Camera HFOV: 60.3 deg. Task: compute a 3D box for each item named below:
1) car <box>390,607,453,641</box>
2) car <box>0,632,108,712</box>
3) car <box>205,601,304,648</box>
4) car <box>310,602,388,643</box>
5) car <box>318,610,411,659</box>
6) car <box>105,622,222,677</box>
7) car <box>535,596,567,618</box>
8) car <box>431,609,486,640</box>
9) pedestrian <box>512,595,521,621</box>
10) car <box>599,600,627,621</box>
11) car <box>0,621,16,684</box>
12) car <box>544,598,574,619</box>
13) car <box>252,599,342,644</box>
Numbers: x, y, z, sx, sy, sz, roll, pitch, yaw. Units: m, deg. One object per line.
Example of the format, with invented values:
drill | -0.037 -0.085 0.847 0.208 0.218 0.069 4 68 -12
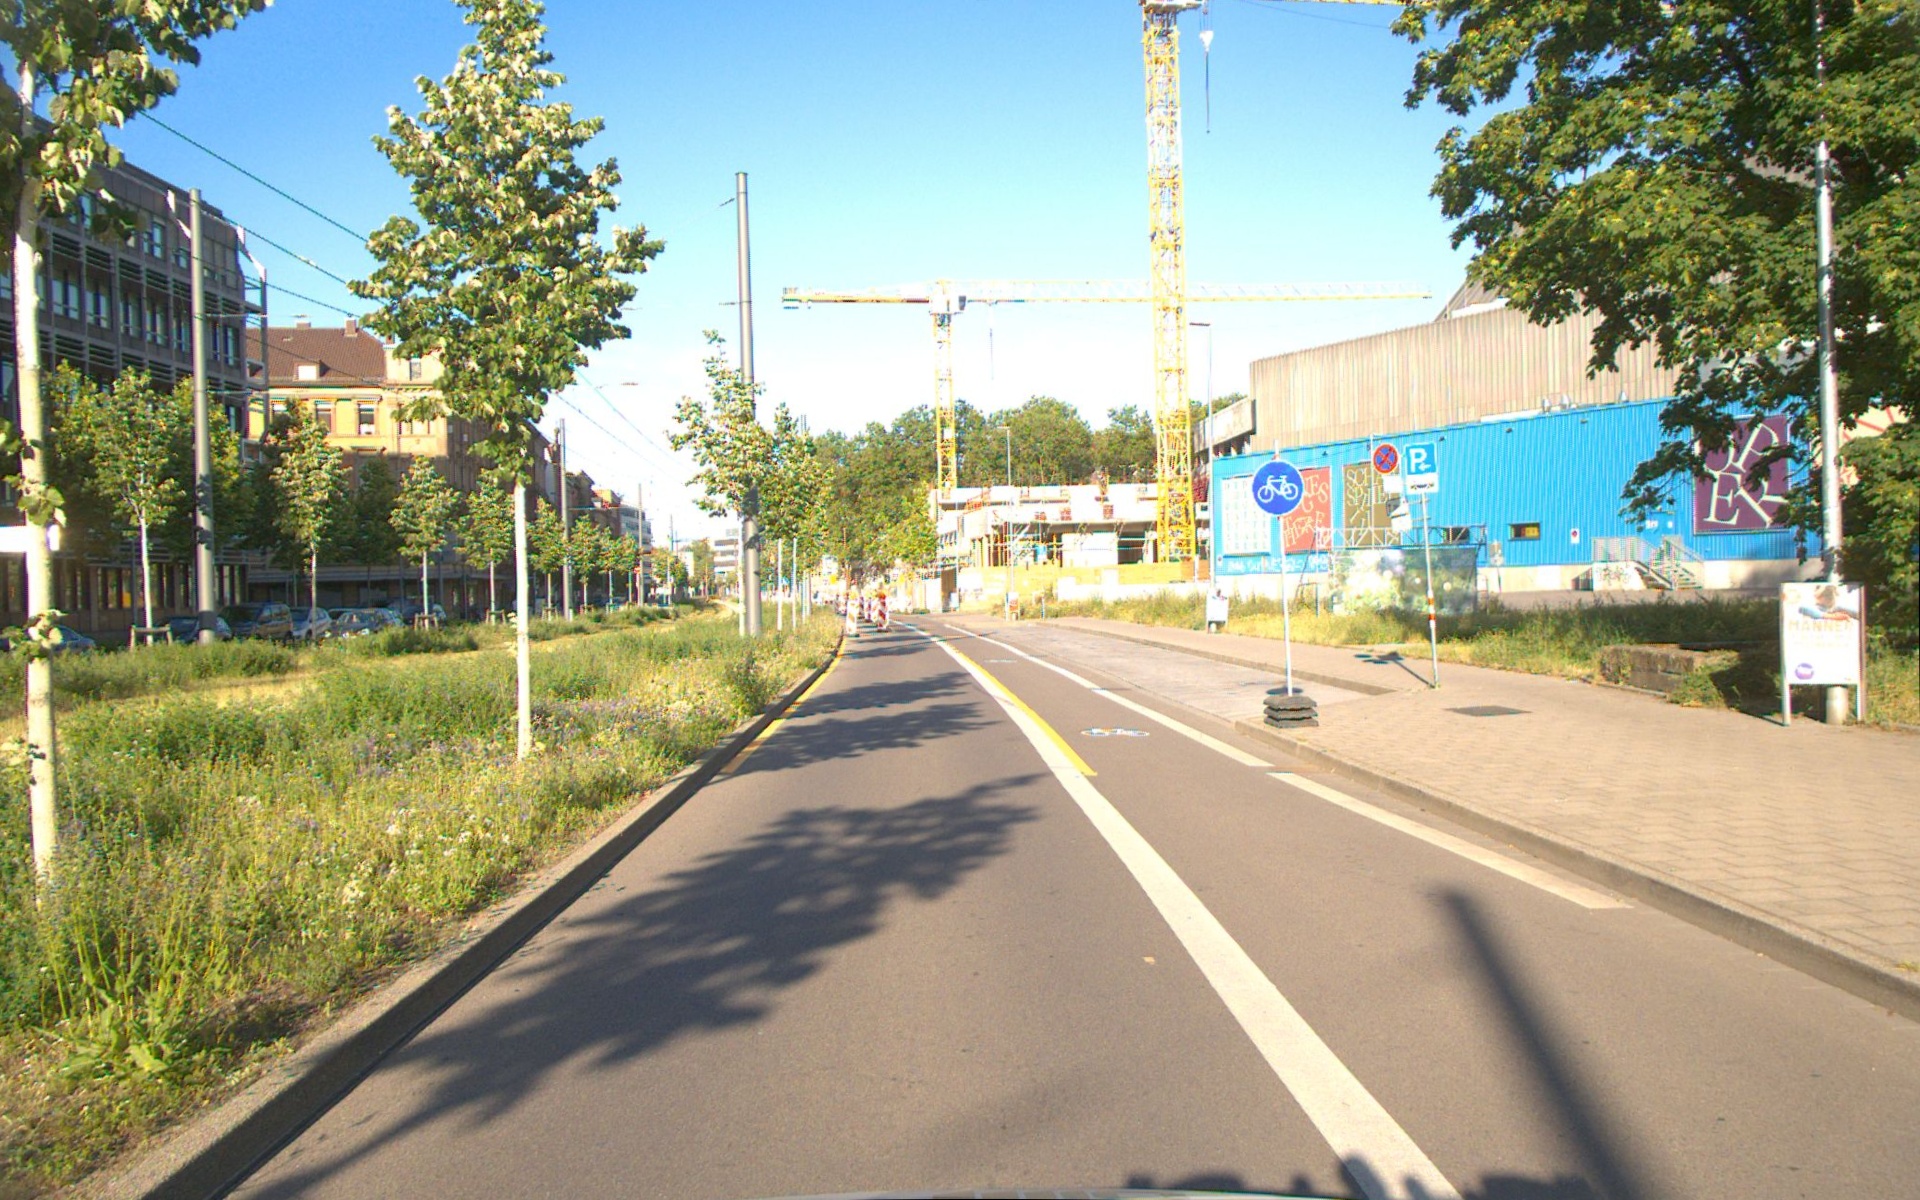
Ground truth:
car | -27.678 1.227 85.175 1.865 1.602 4.300 -2 0 -2
car | -21.396 1.609 37.555 1.865 1.602 4.409 -2 0 -2
car | -26.156 0.878 61.452 1.865 1.602 4.300 -2 0 -2
car | -26.634 0.957 72.223 1.865 1.602 4.300 -2 0 -2
car | -21.619 1.226 60.205 1.865 1.602 4.300 -2 0 -2
car | -26.588 1.626 55.378 1.865 1.602 4.300 -2 0 -2
car | -31.435 0.520 127.177 1.868 1.602 4.293 -2 0 -8
car | -28.219 1.378 93.164 1.865 1.602 4.300 -2 0 -2
pedestrian | -33.523 0.585 125.069 0.540 1.981 0.649 -2 0 -9
car | -27.422 0.819 130.865 1.868 1.602 4.293 -2 0 -8
car | -25.717 1.401 41.282 1.865 1.602 4.300 -2 0 -2
car | -32.036 0.689 132.187 1.868 1.602 4.293 -2 0 -8
car | -26.346 0.829 65.872 1.865 1.602 4.300 -2 0 -2
